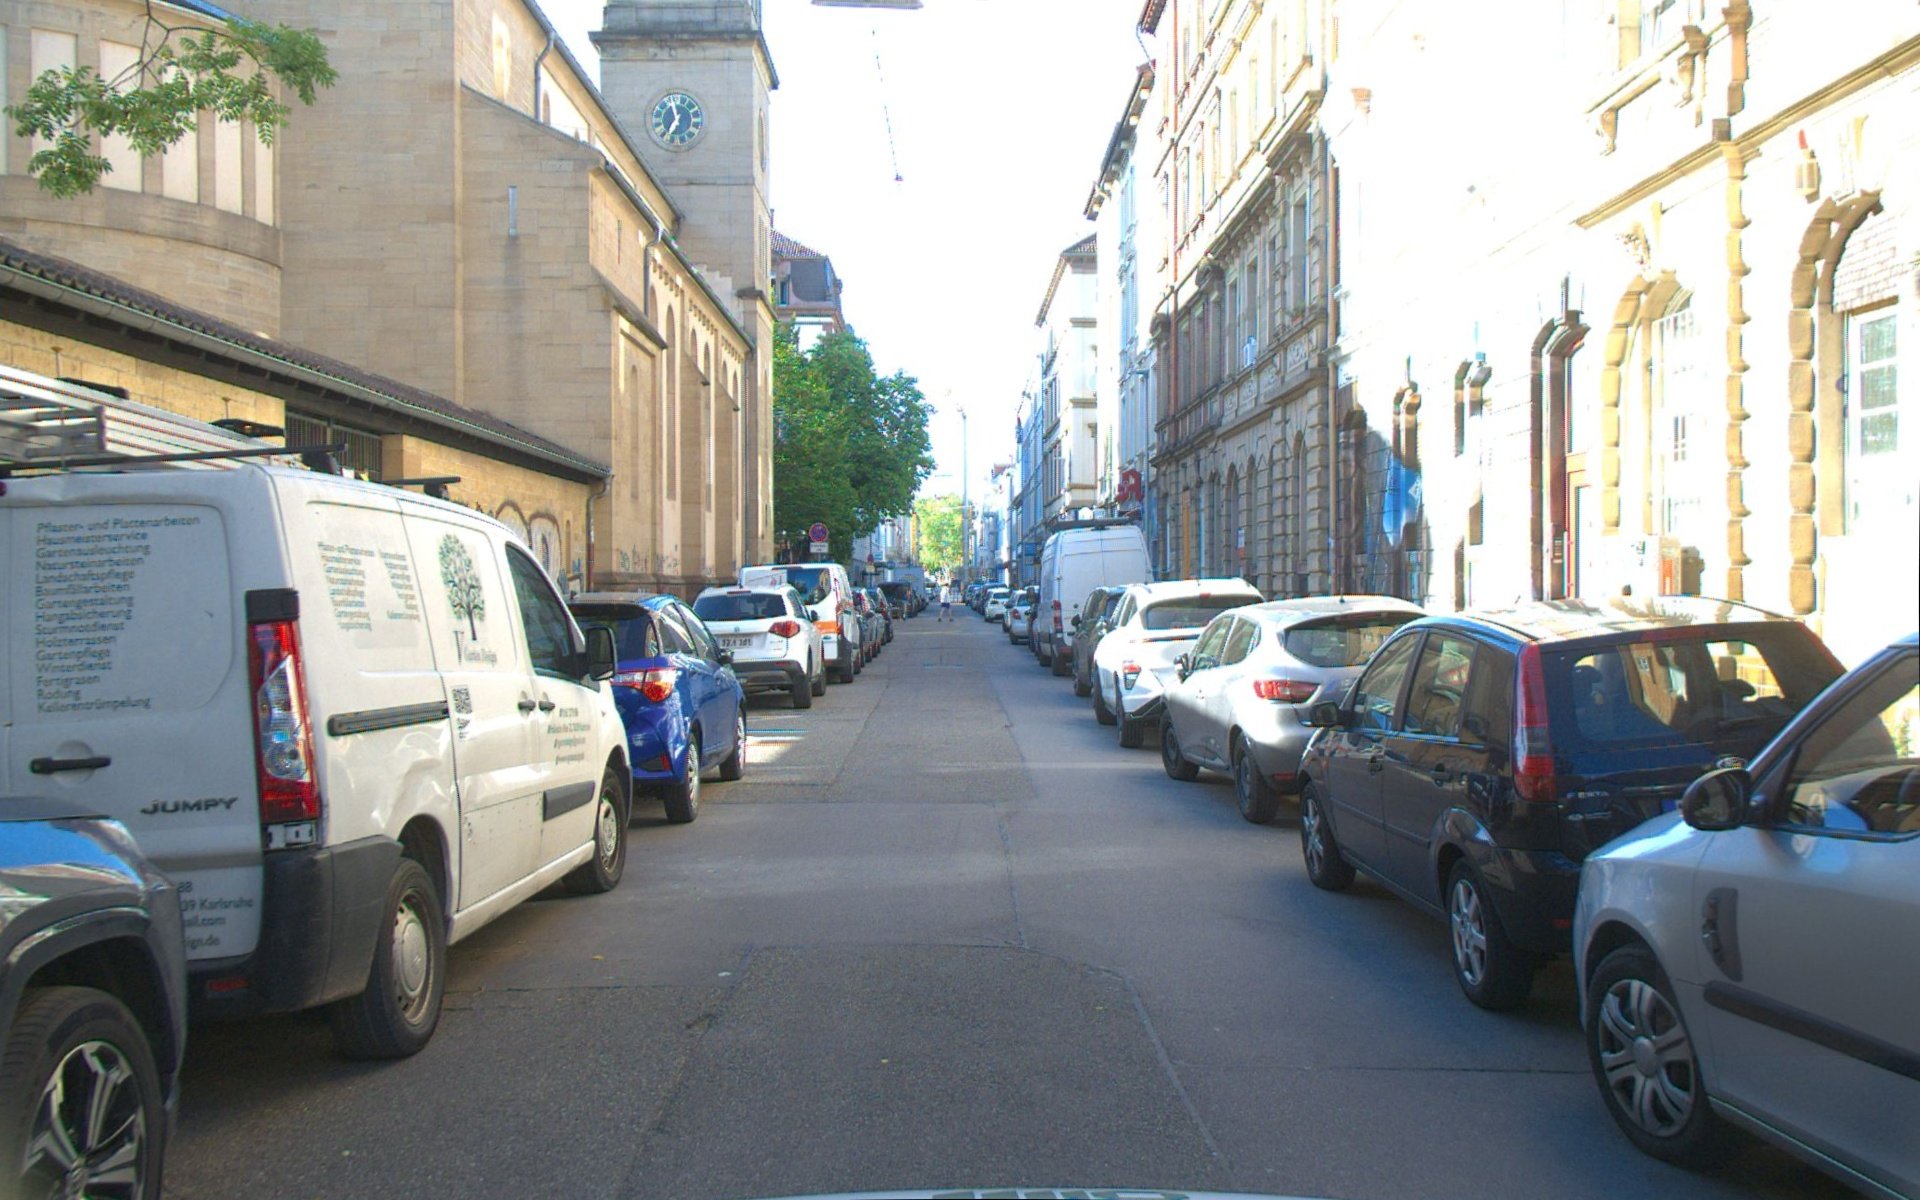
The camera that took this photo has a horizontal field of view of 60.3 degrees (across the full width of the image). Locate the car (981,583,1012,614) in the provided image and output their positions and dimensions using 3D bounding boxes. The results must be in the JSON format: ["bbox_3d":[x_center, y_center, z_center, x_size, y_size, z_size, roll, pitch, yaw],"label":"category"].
[{"bbox_3d":[2.140,-0.094,97.787,1.733,1.771,4.000,0,1,0],"label":"car"}]

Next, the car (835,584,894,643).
[{"bbox_3d":[-2.834,0.373,49.514,1.567,1.642,3.807,-2,0,-1],"label":"car"}]

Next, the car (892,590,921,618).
[{"bbox_3d":[-3.550,0.279,110.656,1.837,1.828,4.000,0,0,0],"label":"car"}]

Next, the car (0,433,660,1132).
[{"bbox_3d":[-2.555,0.463,6.722,1.807,1.894,4.465,0,1,1],"label":"car"}]

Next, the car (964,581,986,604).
[{"bbox_3d":[1.403,-0.711,153.320,1.953,2.049,4.000,0,0,0],"label":"car"}]

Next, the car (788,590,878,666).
[{"bbox_3d":[-2.618,0.542,34.765,1.582,1.477,3.950,-1,0,0],"label":"car"}]

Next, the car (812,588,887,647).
[{"bbox_3d":[-2.890,0.446,44.092,1.537,1.422,3.809,-3,0,2],"label":"car"}]

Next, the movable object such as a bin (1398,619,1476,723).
[{"bbox_3d":[5.167,0.761,17.925,0.539,1.071,0.600,-3,1,-19],"label":"movable object such as a bin"}]

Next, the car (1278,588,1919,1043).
[{"bbox_3d":[2.622,0.723,7.535,1.504,1.539,3.680,0,0,-2],"label":"car"}]

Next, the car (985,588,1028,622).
[{"bbox_3d":[2.127,0.218,76.893,1.859,1.514,3.869,0,0,0],"label":"car"}]

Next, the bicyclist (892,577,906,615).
[{"bbox_3d":[-2.811,-0.190,75.969,0.592,1.717,0.885,0,0,-1],"label":"bicyclist"}]

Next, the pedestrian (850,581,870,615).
[{"bbox_3d":[-4.968,-0.098,82.288,0.910,1.666,0.806,0,0,0],"label":"pedestrian"}]

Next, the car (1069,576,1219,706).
[{"bbox_3d":[2.526,0.523,23.500,1.653,1.671,3.924,1,0,-1],"label":"car"}]

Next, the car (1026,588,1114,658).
[{"bbox_3d":[2.547,0.499,39.175,1.743,1.512,4.360,2,0,0],"label":"car"}]

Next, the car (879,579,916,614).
[{"bbox_3d":[-3.333,-0.222,88.941,1.837,1.828,4.000,0,0,0],"label":"car"}]

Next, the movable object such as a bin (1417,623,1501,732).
[{"bbox_3d":[5.161,0.790,17.127,0.543,1.071,0.596,-3,1,-34],"label":"movable object such as a bin"}]

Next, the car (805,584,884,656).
[{"bbox_3d":[-2.680,0.434,38.968,1.639,1.586,3.999,-1,0,-1],"label":"car"}]

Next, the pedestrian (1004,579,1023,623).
[{"bbox_3d":[2.329,0.027,71.788,0.669,1.875,0.692,1,0,-12],"label":"pedestrian"}]

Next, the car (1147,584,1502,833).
[{"bbox_3d":[2.584,0.691,12.653,1.541,1.551,3.905,3,0,-4],"label":"car"}]

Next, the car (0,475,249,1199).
[{"bbox_3d":[-2.450,0.631,1.745,1.706,1.675,4.287,0,0,-3],"label":"car"}]

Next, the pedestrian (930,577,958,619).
[{"bbox_3d":[-0.729,-0.097,76.248,0.998,1.875,0.777,1,0,-31],"label":"pedestrian"}]

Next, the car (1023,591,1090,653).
[{"bbox_3d":[2.493,0.547,43.580,1.537,1.521,3.653,2,0,0],"label":"car"}]

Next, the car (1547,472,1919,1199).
[{"bbox_3d":[2.746,0.613,3.241,1.669,1.744,3.936,0,0,-2],"label":"car"}]

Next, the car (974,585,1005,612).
[{"bbox_3d":[1.940,-0.129,111.082,1.953,1.660,4.000,3,0,0],"label":"car"}]

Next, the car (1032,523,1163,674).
[{"bbox_3d":[2.575,-0.064,32.381,2.026,2.656,5.887,1,1,0],"label":"car"}]

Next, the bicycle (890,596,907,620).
[{"bbox_3d":[-2.814,0.366,75.923,0.724,1.062,1.859,0,0,0],"label":"bicycle"}]

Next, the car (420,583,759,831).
[{"bbox_3d":[-2.538,0.644,12.232,1.653,1.502,3.860,-1,1,-1],"label":"car"}]

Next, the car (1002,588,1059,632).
[{"bbox_3d":[2.474,0.340,59.002,1.682,1.514,3.867,0,0,-3],"label":"car"}]

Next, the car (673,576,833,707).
[{"bbox_3d":[-2.739,0.506,22.662,1.706,1.614,3.868,1,0,0],"label":"car"}]

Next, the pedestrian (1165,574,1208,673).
[{"bbox_3d":[4.227,0.434,30.843,0.626,1.803,0.679,2,0,16],"label":"pedestrian"}]

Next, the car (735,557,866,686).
[{"bbox_3d":[-2.652,0.323,28.457,1.826,1.991,4.609,-1,0,-1],"label":"car"}]

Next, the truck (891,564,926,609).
[{"bbox_3d":[-3.895,-1.030,127.114,2.480,3.339,6.994,0,0,0],"label":"truck"}]

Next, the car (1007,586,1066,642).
[{"bbox_3d":[2.198,0.384,48.362,1.570,1.531,4.000,2,0,1],"label":"car"}]

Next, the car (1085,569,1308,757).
[{"bbox_3d":[2.414,0.606,17.875,1.771,1.719,4.214,2,0,0],"label":"car"}]
